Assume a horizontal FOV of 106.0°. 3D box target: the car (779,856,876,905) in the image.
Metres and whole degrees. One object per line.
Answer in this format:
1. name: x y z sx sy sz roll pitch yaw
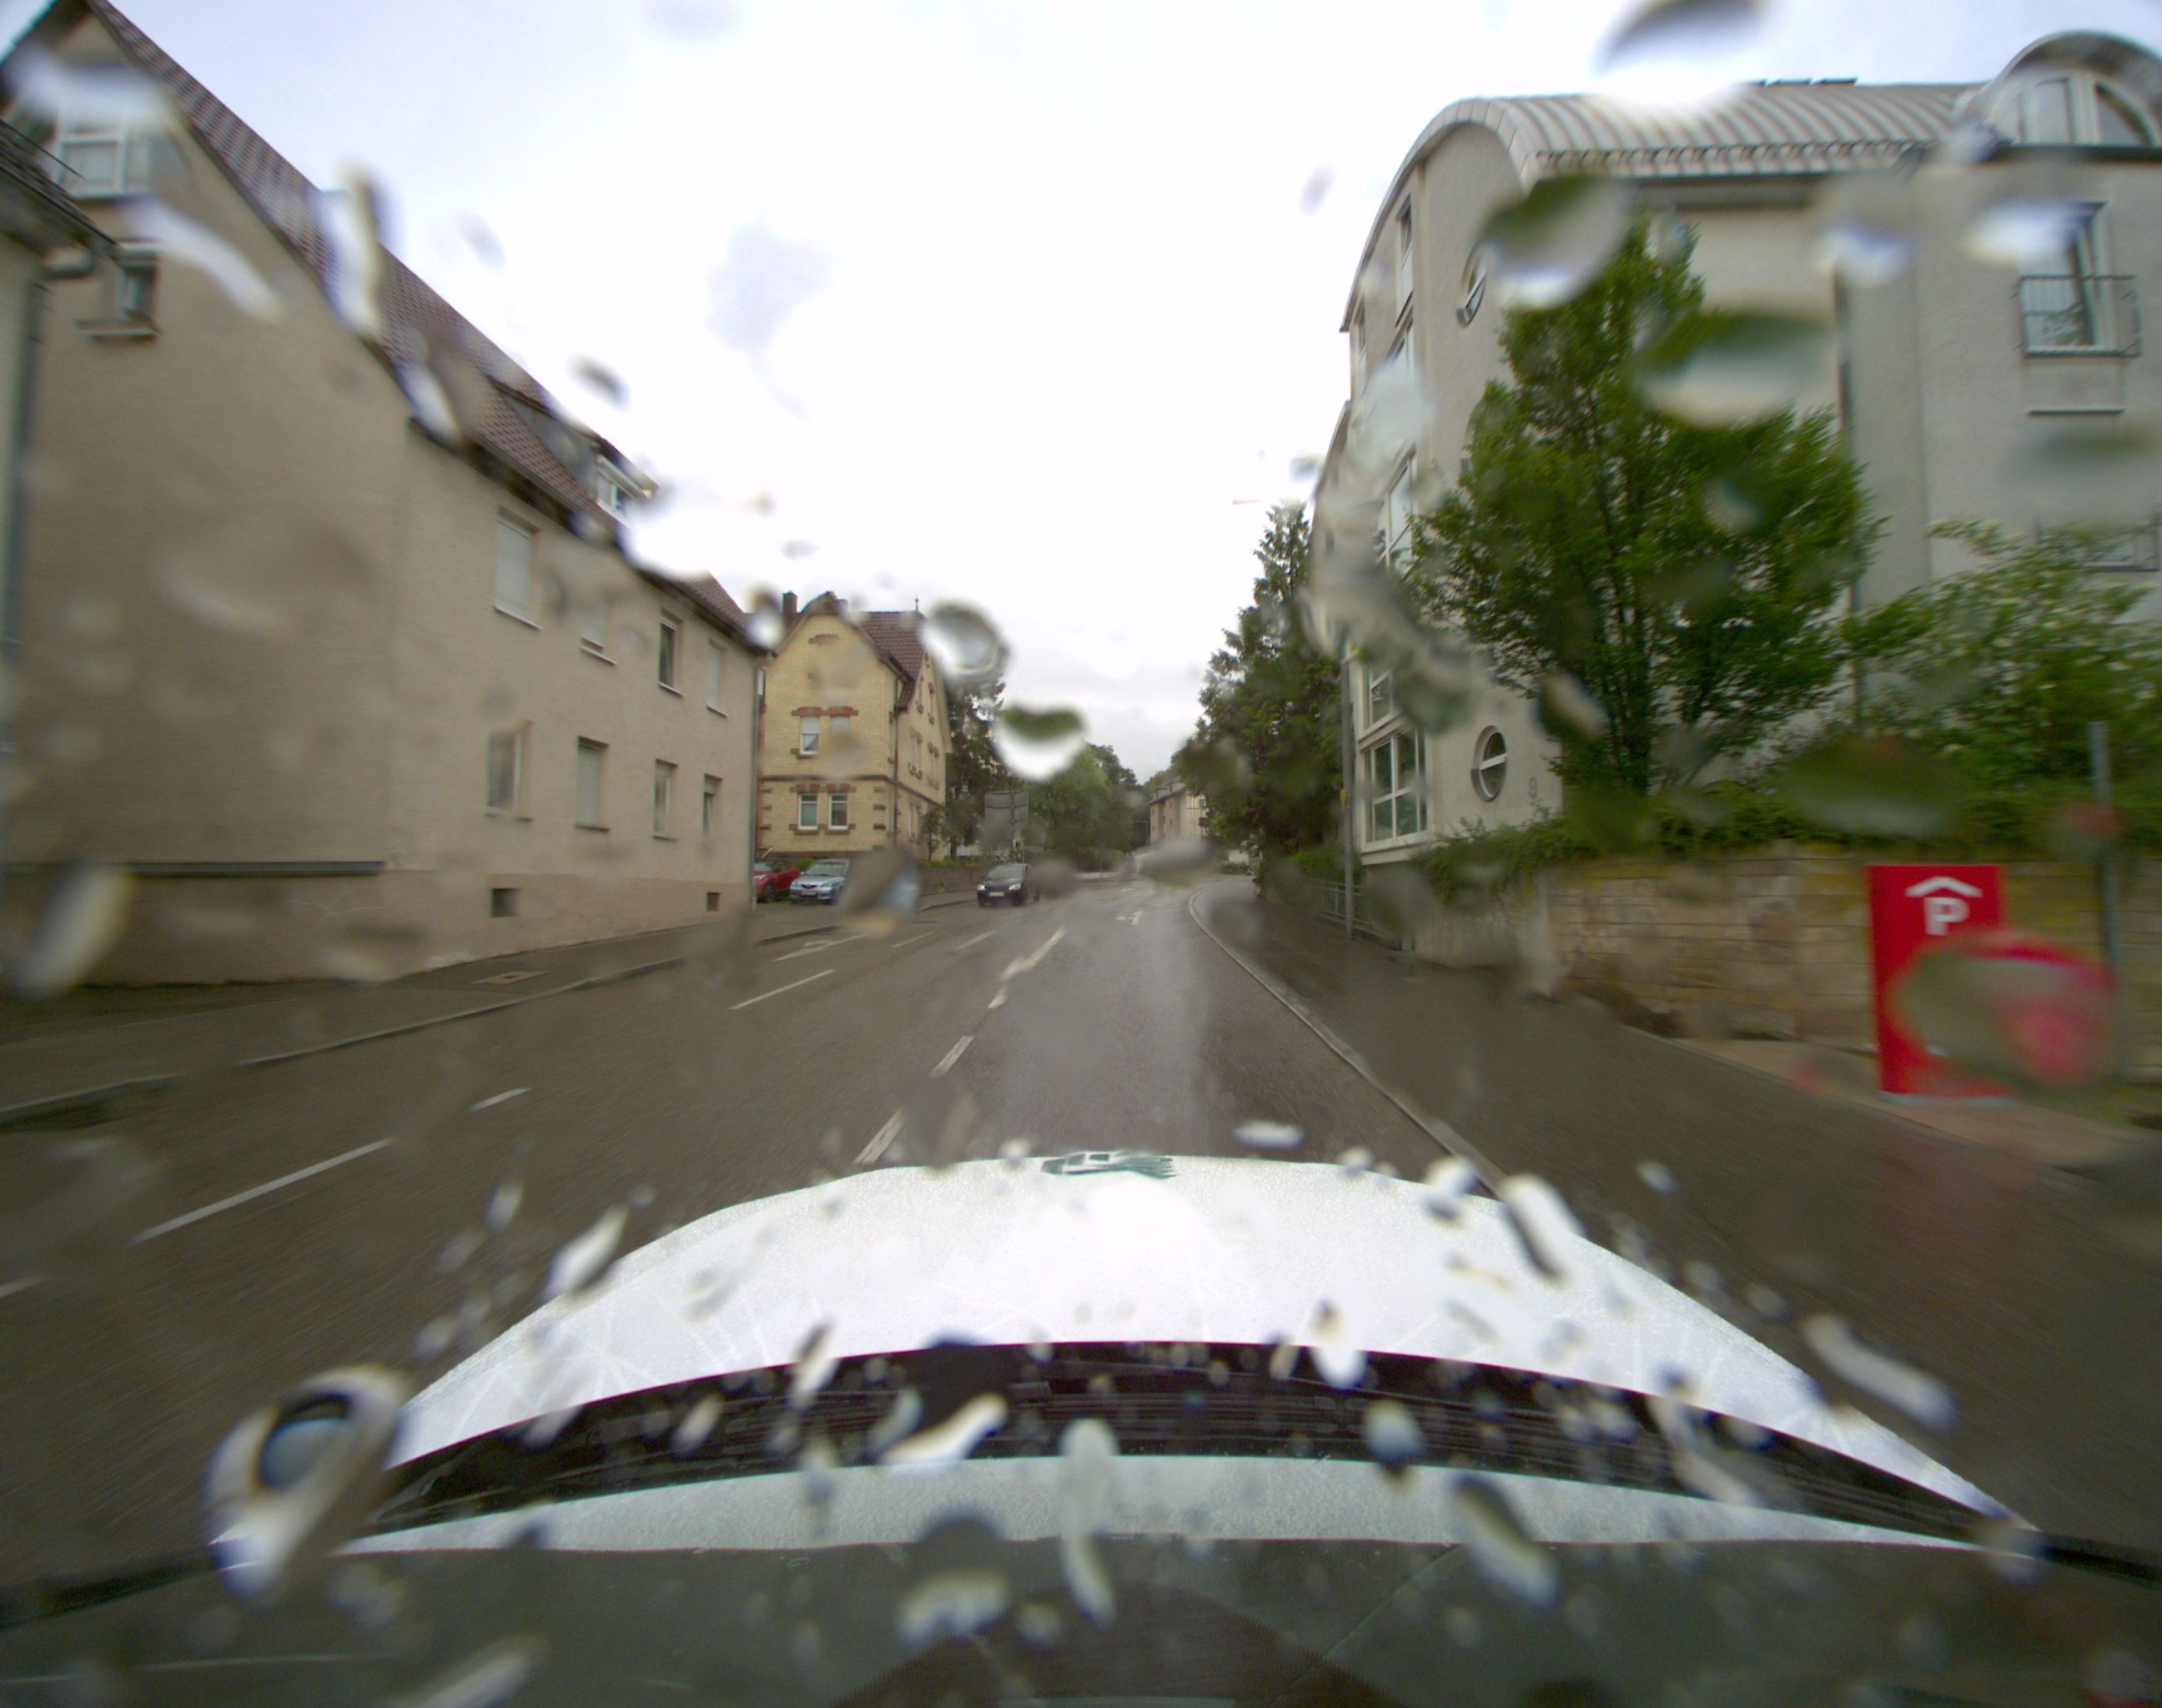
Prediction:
1. car: -8.468 0.839 27.566 1.763 1.503 3.887 1 0 4

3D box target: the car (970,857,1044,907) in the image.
1. car: -2.561 0.954 28.958 1.735 1.571 3.821 3 0 7

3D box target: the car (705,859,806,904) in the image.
1. car: -11.114 0.894 28.116 1.763 1.367 3.885 1 0 3
